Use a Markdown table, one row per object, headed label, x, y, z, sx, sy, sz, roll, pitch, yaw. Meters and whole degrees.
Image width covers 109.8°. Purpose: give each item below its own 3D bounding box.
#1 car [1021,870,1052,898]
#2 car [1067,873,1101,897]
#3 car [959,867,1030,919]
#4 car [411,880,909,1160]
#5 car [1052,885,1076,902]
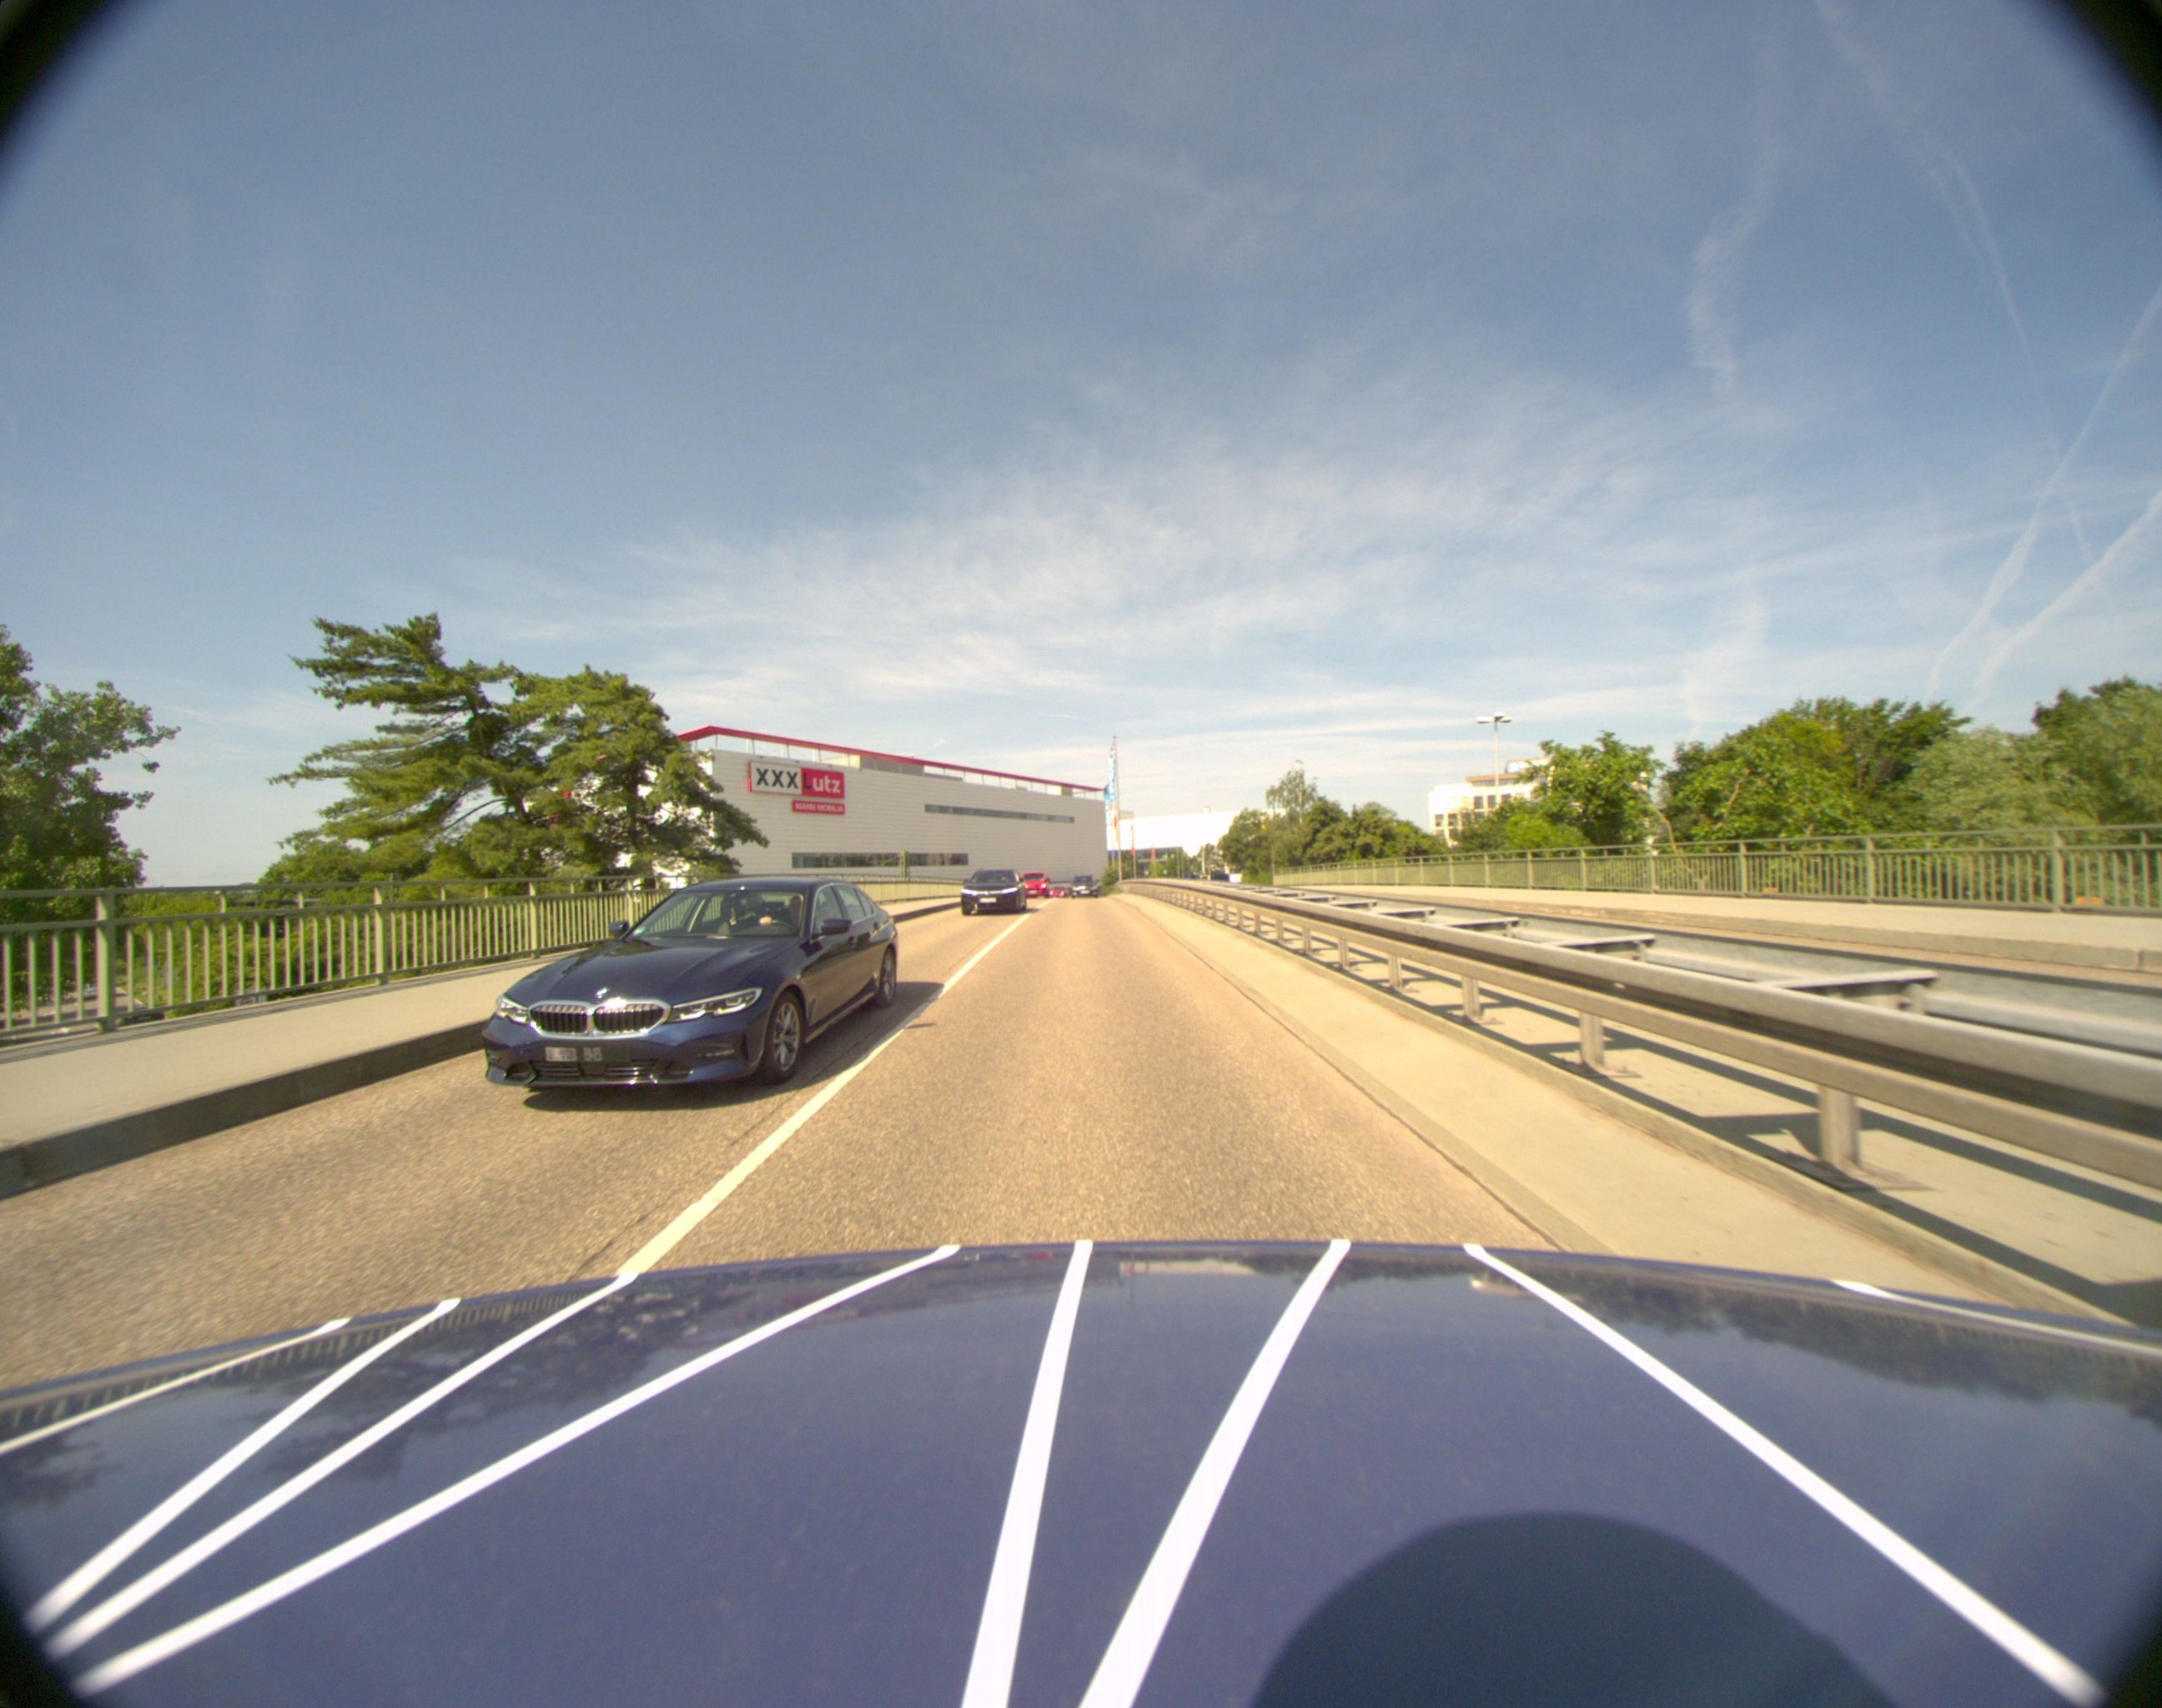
| label | x | y | z | sx | sy | sz | roll | pitch | yaw |
| --- | --- | --- | --- | --- | --- | --- | --- | --- | --- |
| car | -3.204 | 2.205 | 55.569 | 1.988 | 1.895 | 4.146 | 1 | -2 | 0 |
| car | 0.242 | 1.945 | 47.516 | 1.849 | 1.409 | 4.003 | 0 | -3 | 4 |
| car | -2.840 | 1.266 | 25.769 | 1.861 | 1.520 | 4.145 | -2 | -1 | 0 |
| car | -2.944 | 1.034 | 6.646 | 1.792 | 1.474 | 4.520 | -2 | -1 | 0 |
| car | -1.681 | 4.013 | 76.887 | 1.776 | 1.647 | 4.149 | 0 | -3 | 7 |
